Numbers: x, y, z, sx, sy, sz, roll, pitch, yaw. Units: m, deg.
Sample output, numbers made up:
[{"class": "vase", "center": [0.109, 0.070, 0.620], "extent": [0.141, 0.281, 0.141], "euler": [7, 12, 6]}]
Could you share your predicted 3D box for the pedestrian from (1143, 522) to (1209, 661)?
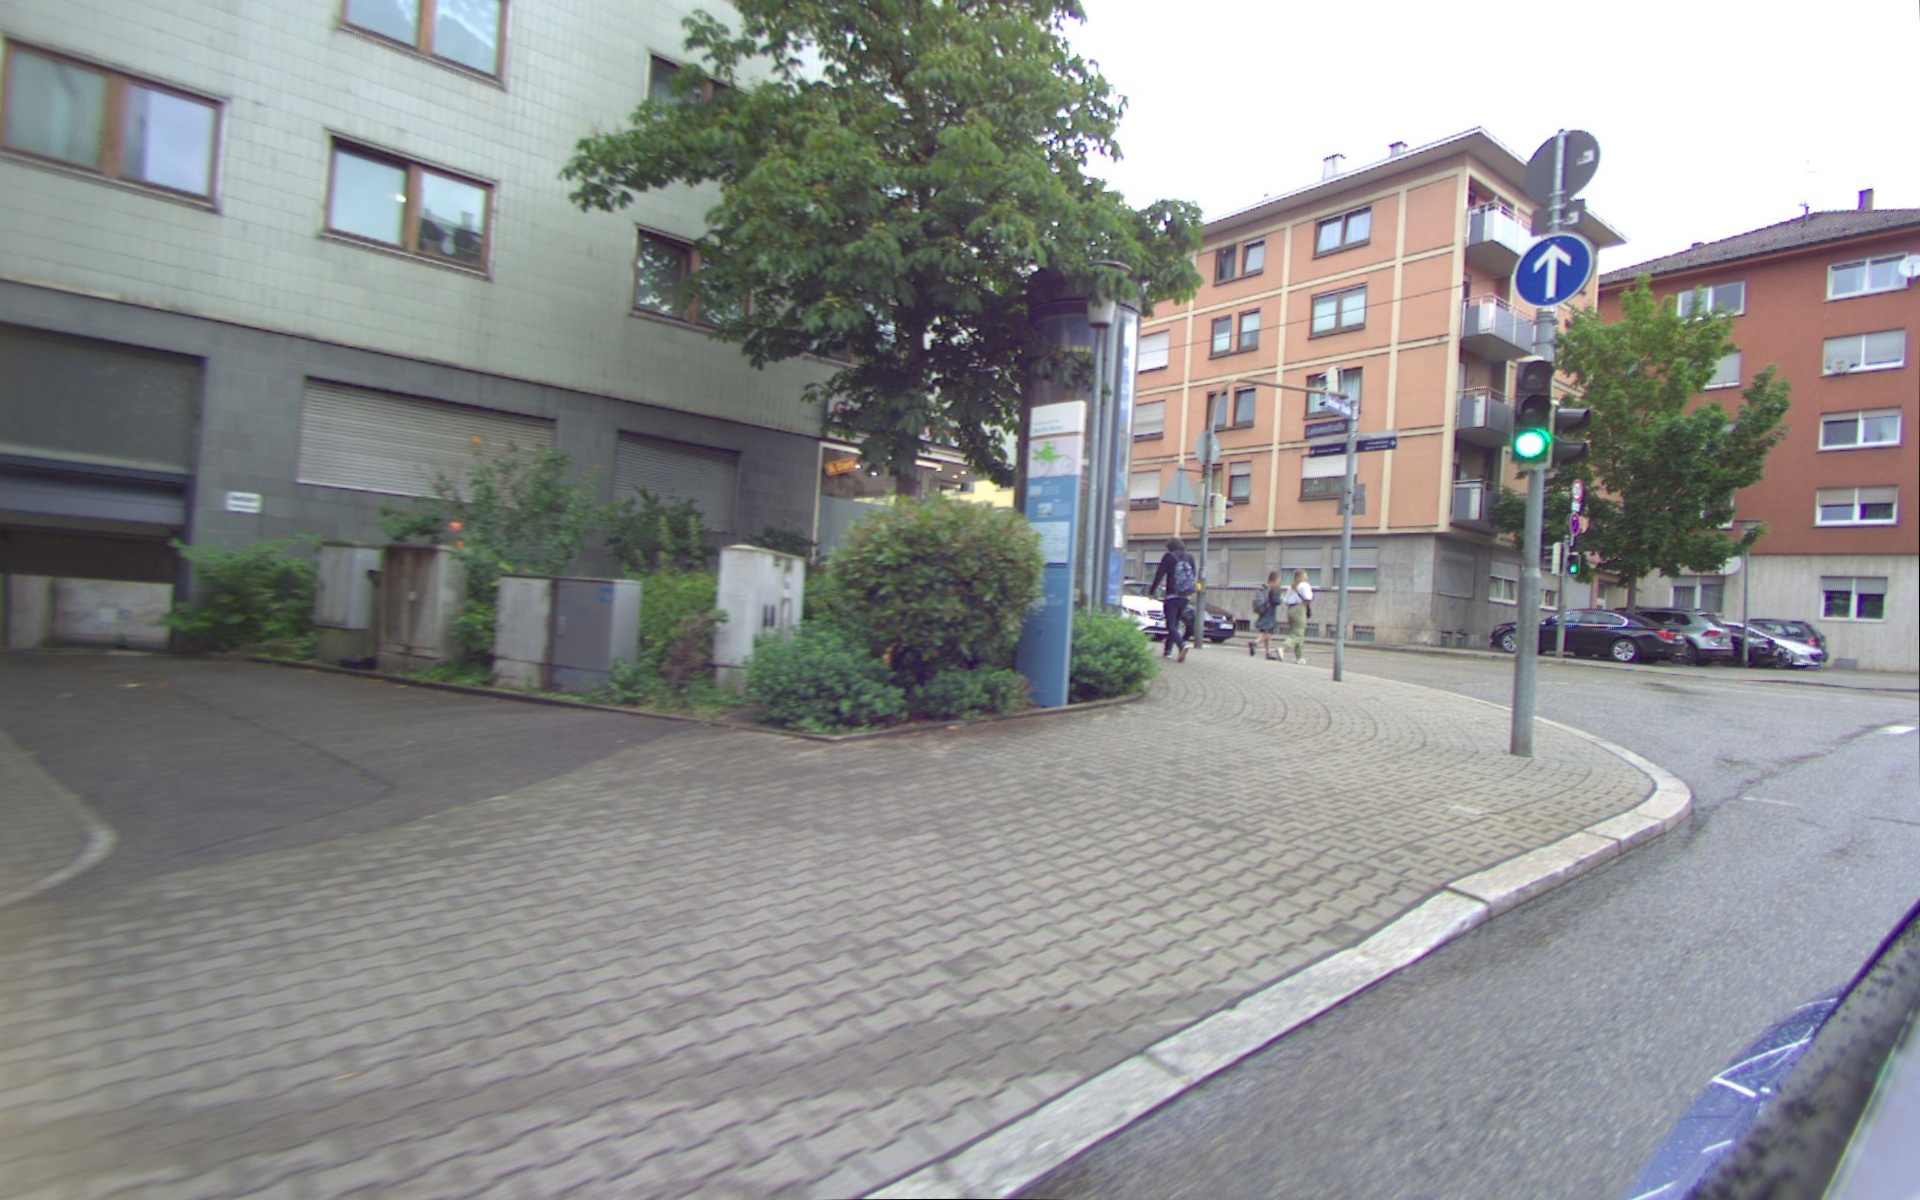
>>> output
[{"class": "pedestrian", "center": [3.026, -0.131, 14.268], "extent": [0.743, 1.840, 0.915], "euler": [4, 1, 10]}]

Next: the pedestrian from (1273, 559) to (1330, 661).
[{"class": "pedestrian", "center": [5.957, 0.182, 17.698], "extent": [0.749, 1.667, 0.706], "euler": [6, 0, 17]}]

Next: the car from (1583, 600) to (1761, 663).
[{"class": "car", "center": [21.504, 0.918, 30.678], "extent": [1.956, 1.681, 3.998], "euler": [3, -1, -37]}]

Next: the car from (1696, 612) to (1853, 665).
[{"class": "car", "center": [29.714, 1.366, 37.034], "extent": [1.958, 1.728, 4.006], "euler": [5, -3, -26]}]

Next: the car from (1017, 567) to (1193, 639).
[{"class": "car", "center": [3.350, 0.036, 24.058], "extent": [1.815, 1.532, 3.999], "euler": [2, 0, -37]}]

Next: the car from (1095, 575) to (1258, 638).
[{"class": "car", "center": [5.629, 0.139, 26.715], "extent": [1.815, 1.508, 3.999], "euler": [2, 0, -37]}]

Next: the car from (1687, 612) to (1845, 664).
[{"class": "car", "center": [27.757, 1.301, 35.006], "extent": [1.639, 1.602, 4.007], "euler": [5, -3, -19]}]

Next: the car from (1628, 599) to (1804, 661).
[{"class": "car", "center": [23.864, 0.912, 32.094], "extent": [1.952, 1.741, 4.006], "euler": [2, 0, -26]}]

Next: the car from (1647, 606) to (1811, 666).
[{"class": "car", "center": [25.552, 1.152, 33.786], "extent": [1.762, 1.719, 4.008], "euler": [5, -1, -19]}]

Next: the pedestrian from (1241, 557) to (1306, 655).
[{"class": "pedestrian", "center": [5.654, 0.105, 18.274], "extent": [0.744, 1.667, 0.710], "euler": [6, 0, -4]}]

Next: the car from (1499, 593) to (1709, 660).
[{"class": "car", "center": [18.657, 0.732, 29.555], "extent": [1.815, 1.574, 4.797], "euler": [3, 1, -35]}]

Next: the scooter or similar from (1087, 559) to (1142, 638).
[{"class": "scooter or similar", "center": [2.624, -0.002, 17.076], "extent": [0.495, 1.206, 1.548], "euler": [2, -3, 23]}]
